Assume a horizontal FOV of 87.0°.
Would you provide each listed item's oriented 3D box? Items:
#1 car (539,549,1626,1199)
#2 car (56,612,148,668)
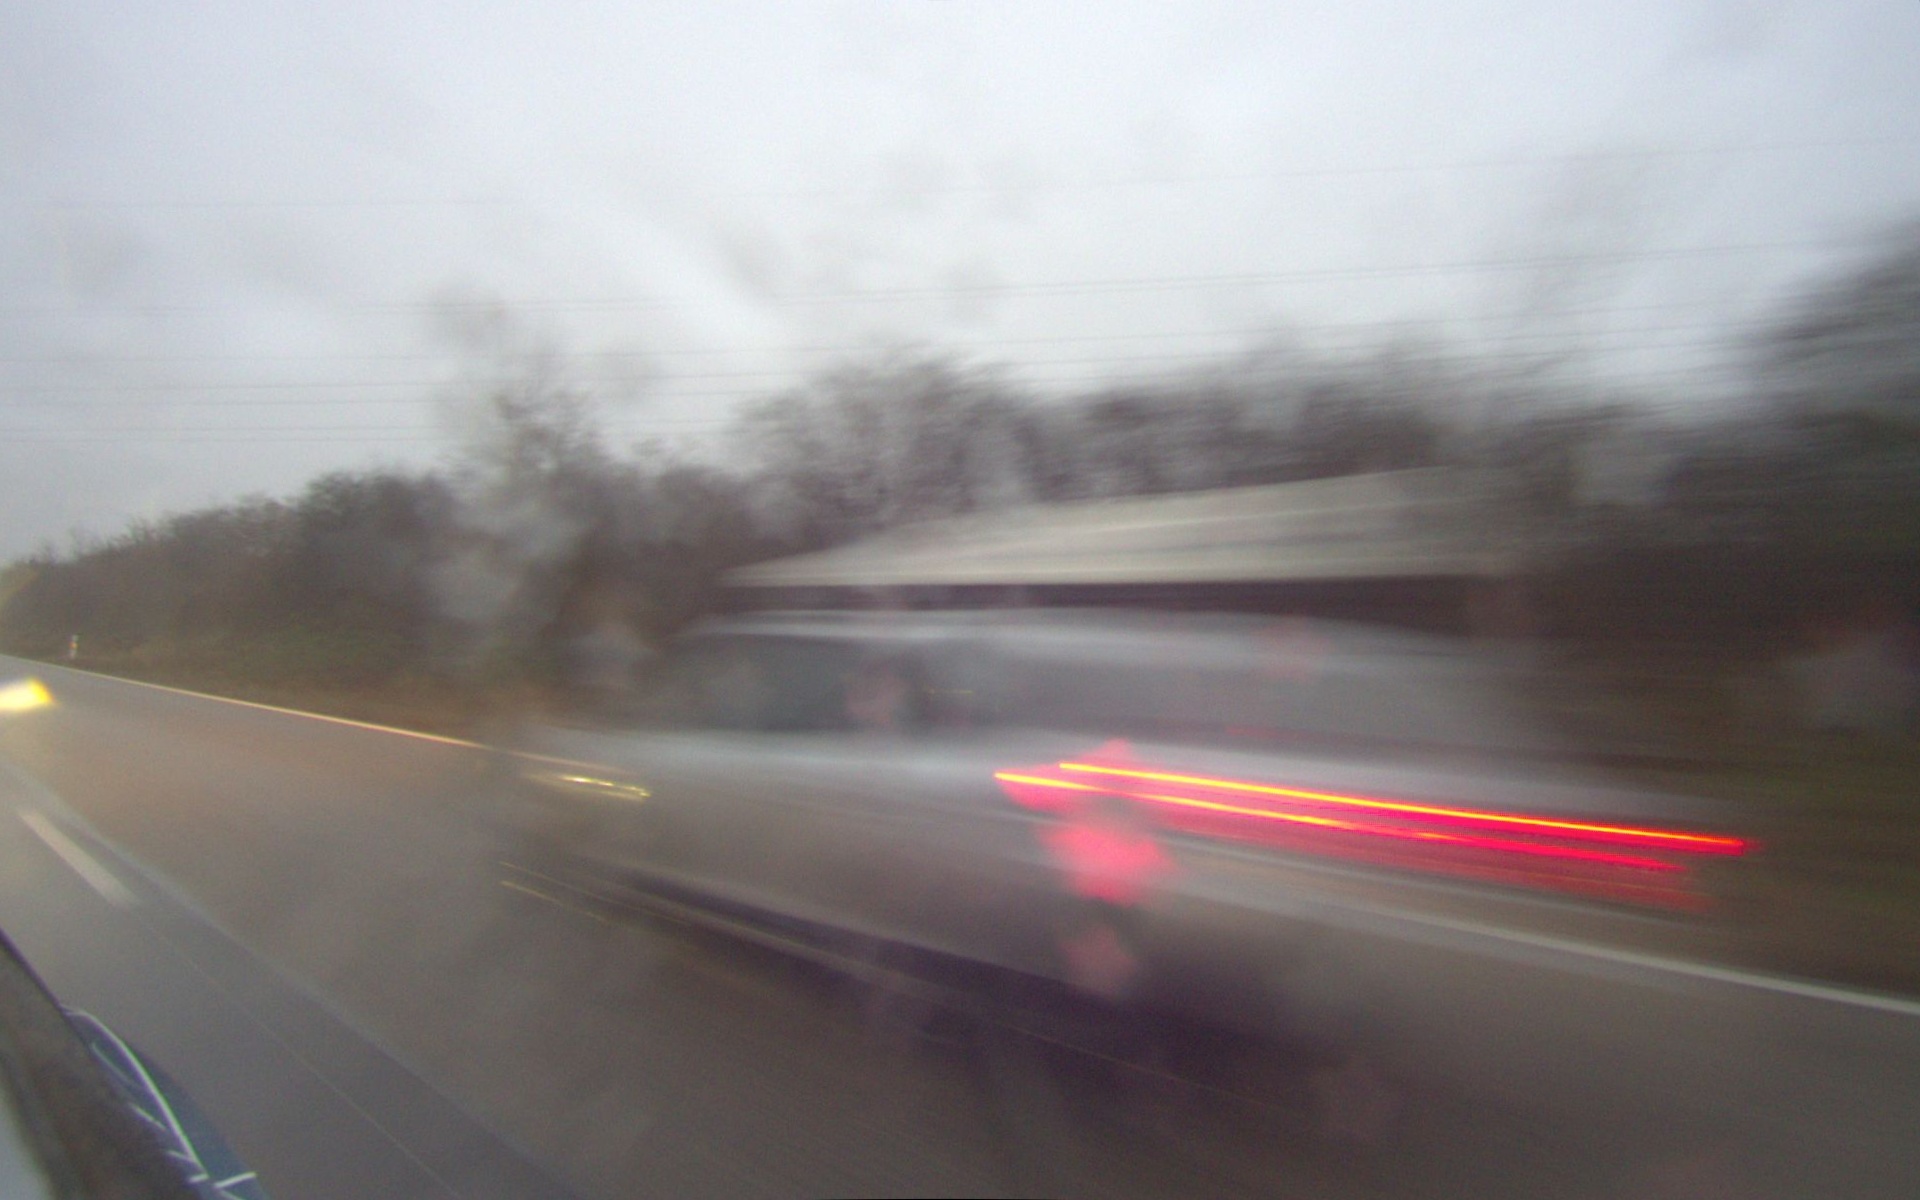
[{"bbox_3d":[0.106,0.686,4.051,4.083,1.541,1.674,-1,0,41],"label":"car"},{"bbox_3d":[-30.129,1.367,35.513,3.999,1.798,1.972,-1,0,42],"label":"car"}]
